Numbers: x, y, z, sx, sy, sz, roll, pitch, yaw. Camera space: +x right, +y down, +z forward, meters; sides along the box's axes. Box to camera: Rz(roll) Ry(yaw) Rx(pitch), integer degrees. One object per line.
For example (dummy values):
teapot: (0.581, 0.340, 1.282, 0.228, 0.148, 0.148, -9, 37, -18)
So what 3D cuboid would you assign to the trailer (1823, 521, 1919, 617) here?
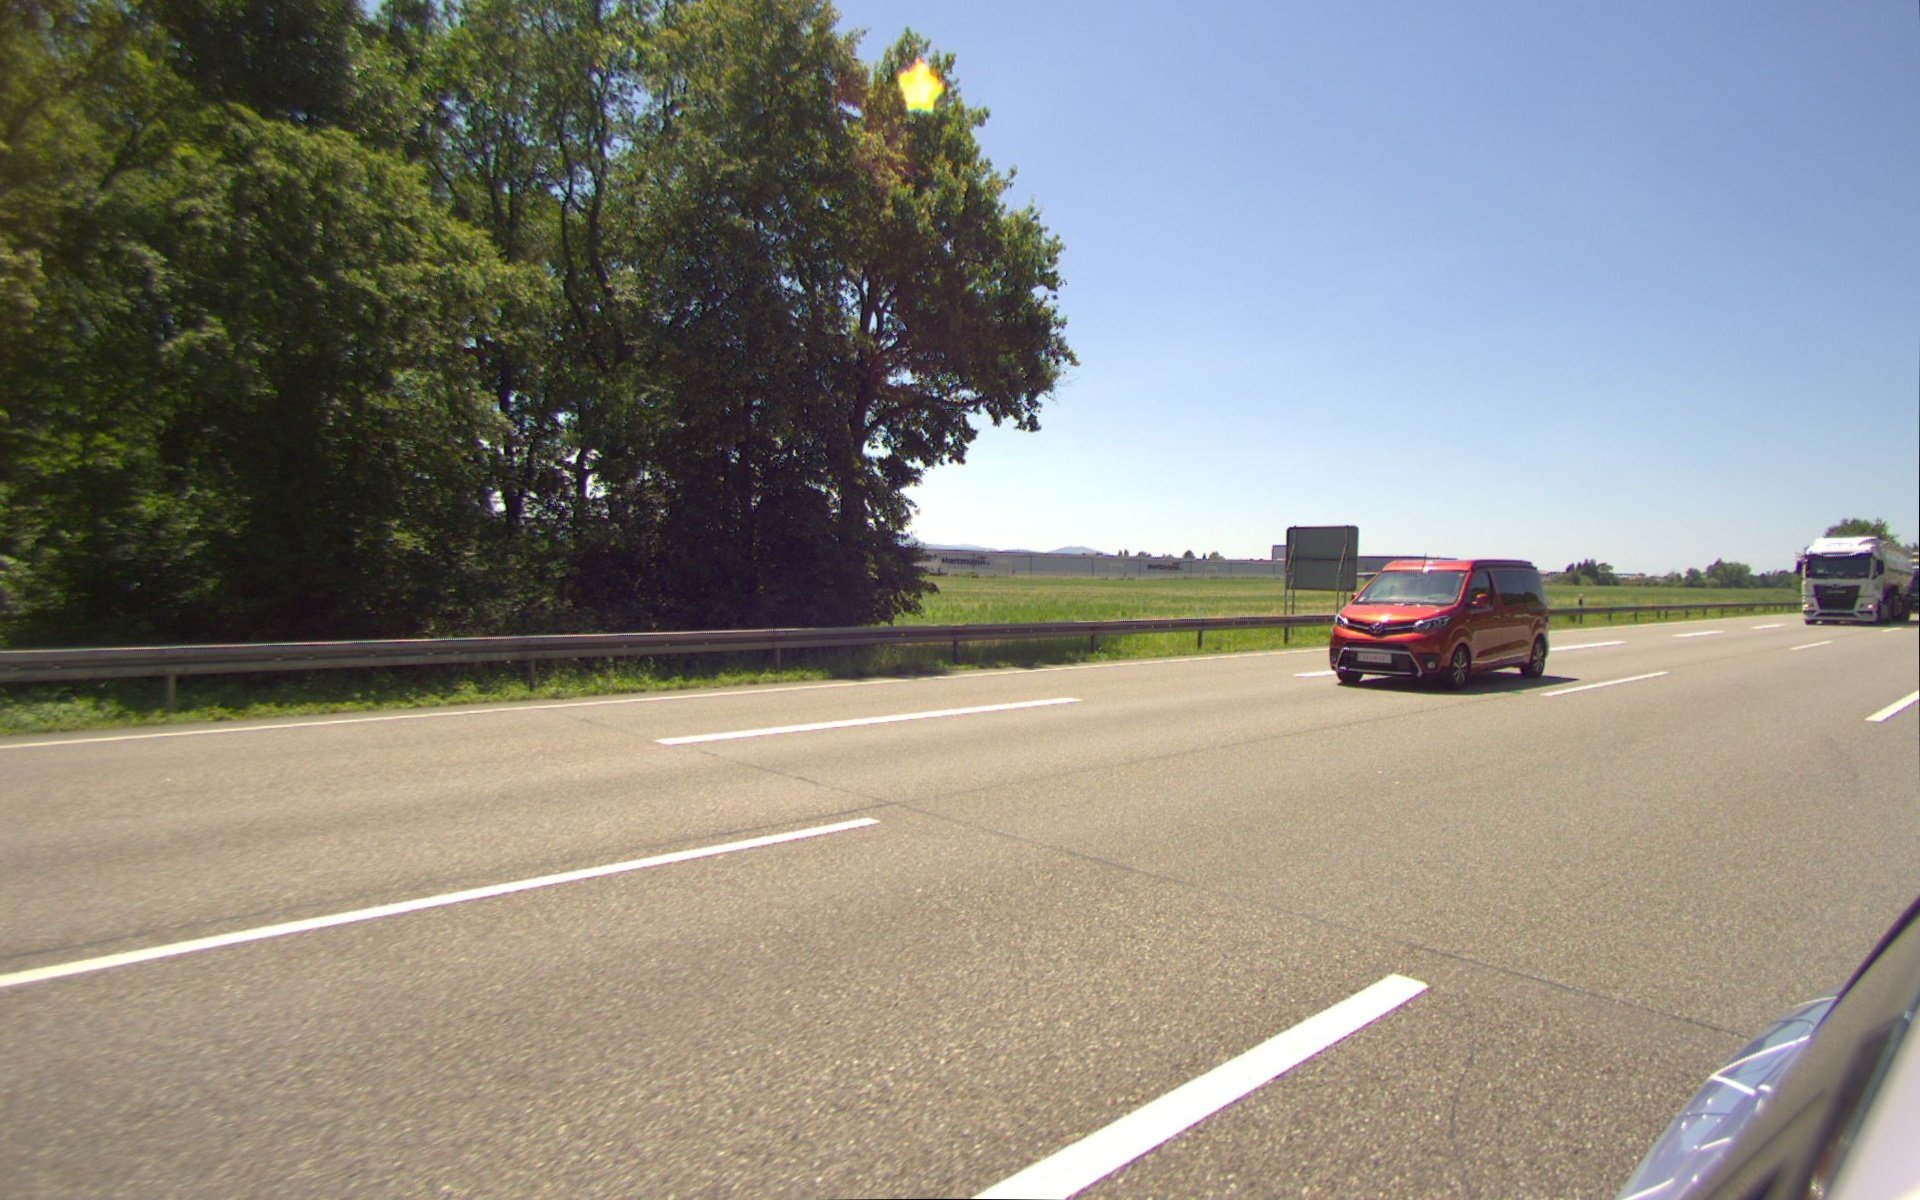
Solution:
trailer: (45.542, -1.447, 50.114, 12.144, 4.257, 2.794, 0, 1, -43)

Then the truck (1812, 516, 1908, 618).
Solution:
truck: (40.067, -1.414, 45.019, 4.917, 4.257, 2.793, 0, 1, -44)

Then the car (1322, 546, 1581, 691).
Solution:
car: (8.232, 0.232, 16.657, 5.425, 2.028, 1.859, -1, 0, -41)

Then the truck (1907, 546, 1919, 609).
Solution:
truck: (68.872, -1.535, 70.949, 10.623, 4.257, 2.794, 0, 1, -43)
